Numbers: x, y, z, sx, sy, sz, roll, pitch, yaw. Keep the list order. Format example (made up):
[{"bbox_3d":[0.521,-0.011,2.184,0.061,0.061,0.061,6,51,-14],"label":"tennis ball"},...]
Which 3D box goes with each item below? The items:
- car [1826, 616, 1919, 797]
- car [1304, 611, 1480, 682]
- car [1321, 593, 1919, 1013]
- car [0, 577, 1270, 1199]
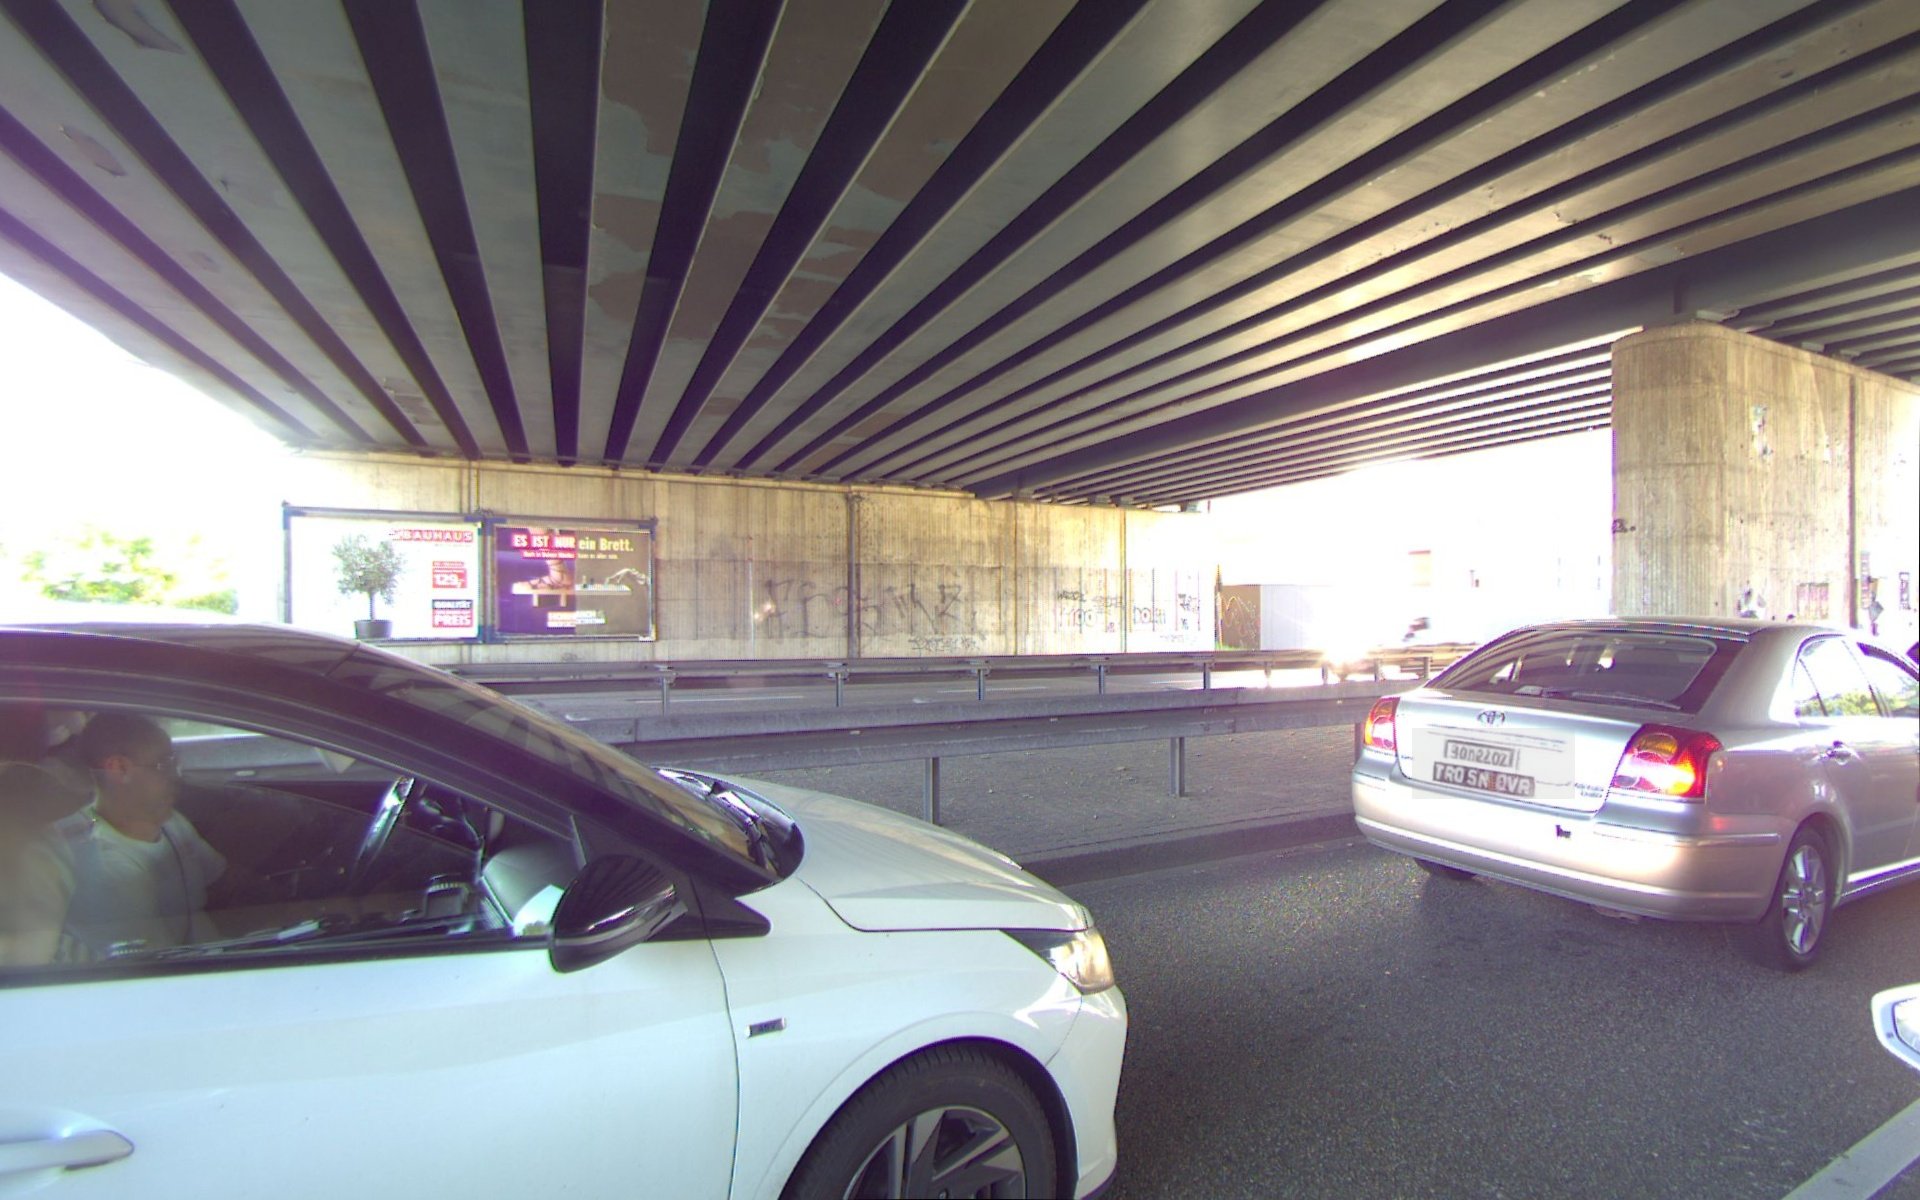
[{"bbox_3d":[9.543,0.886,8.867,3.687,1.457,1.804,0,0,-31],"label":"car"},{"bbox_3d":[10.615,1.091,24.644,4.130,1.609,1.817,0,-1,-28],"label":"car"},{"bbox_3d":[4.087,0.773,5.463,4.270,1.499,1.724,1,-1,-32],"label":"car"},{"bbox_3d":[-1.423,0.729,1.971,3.946,1.499,1.724,1,-1,-32],"label":"car"}]
